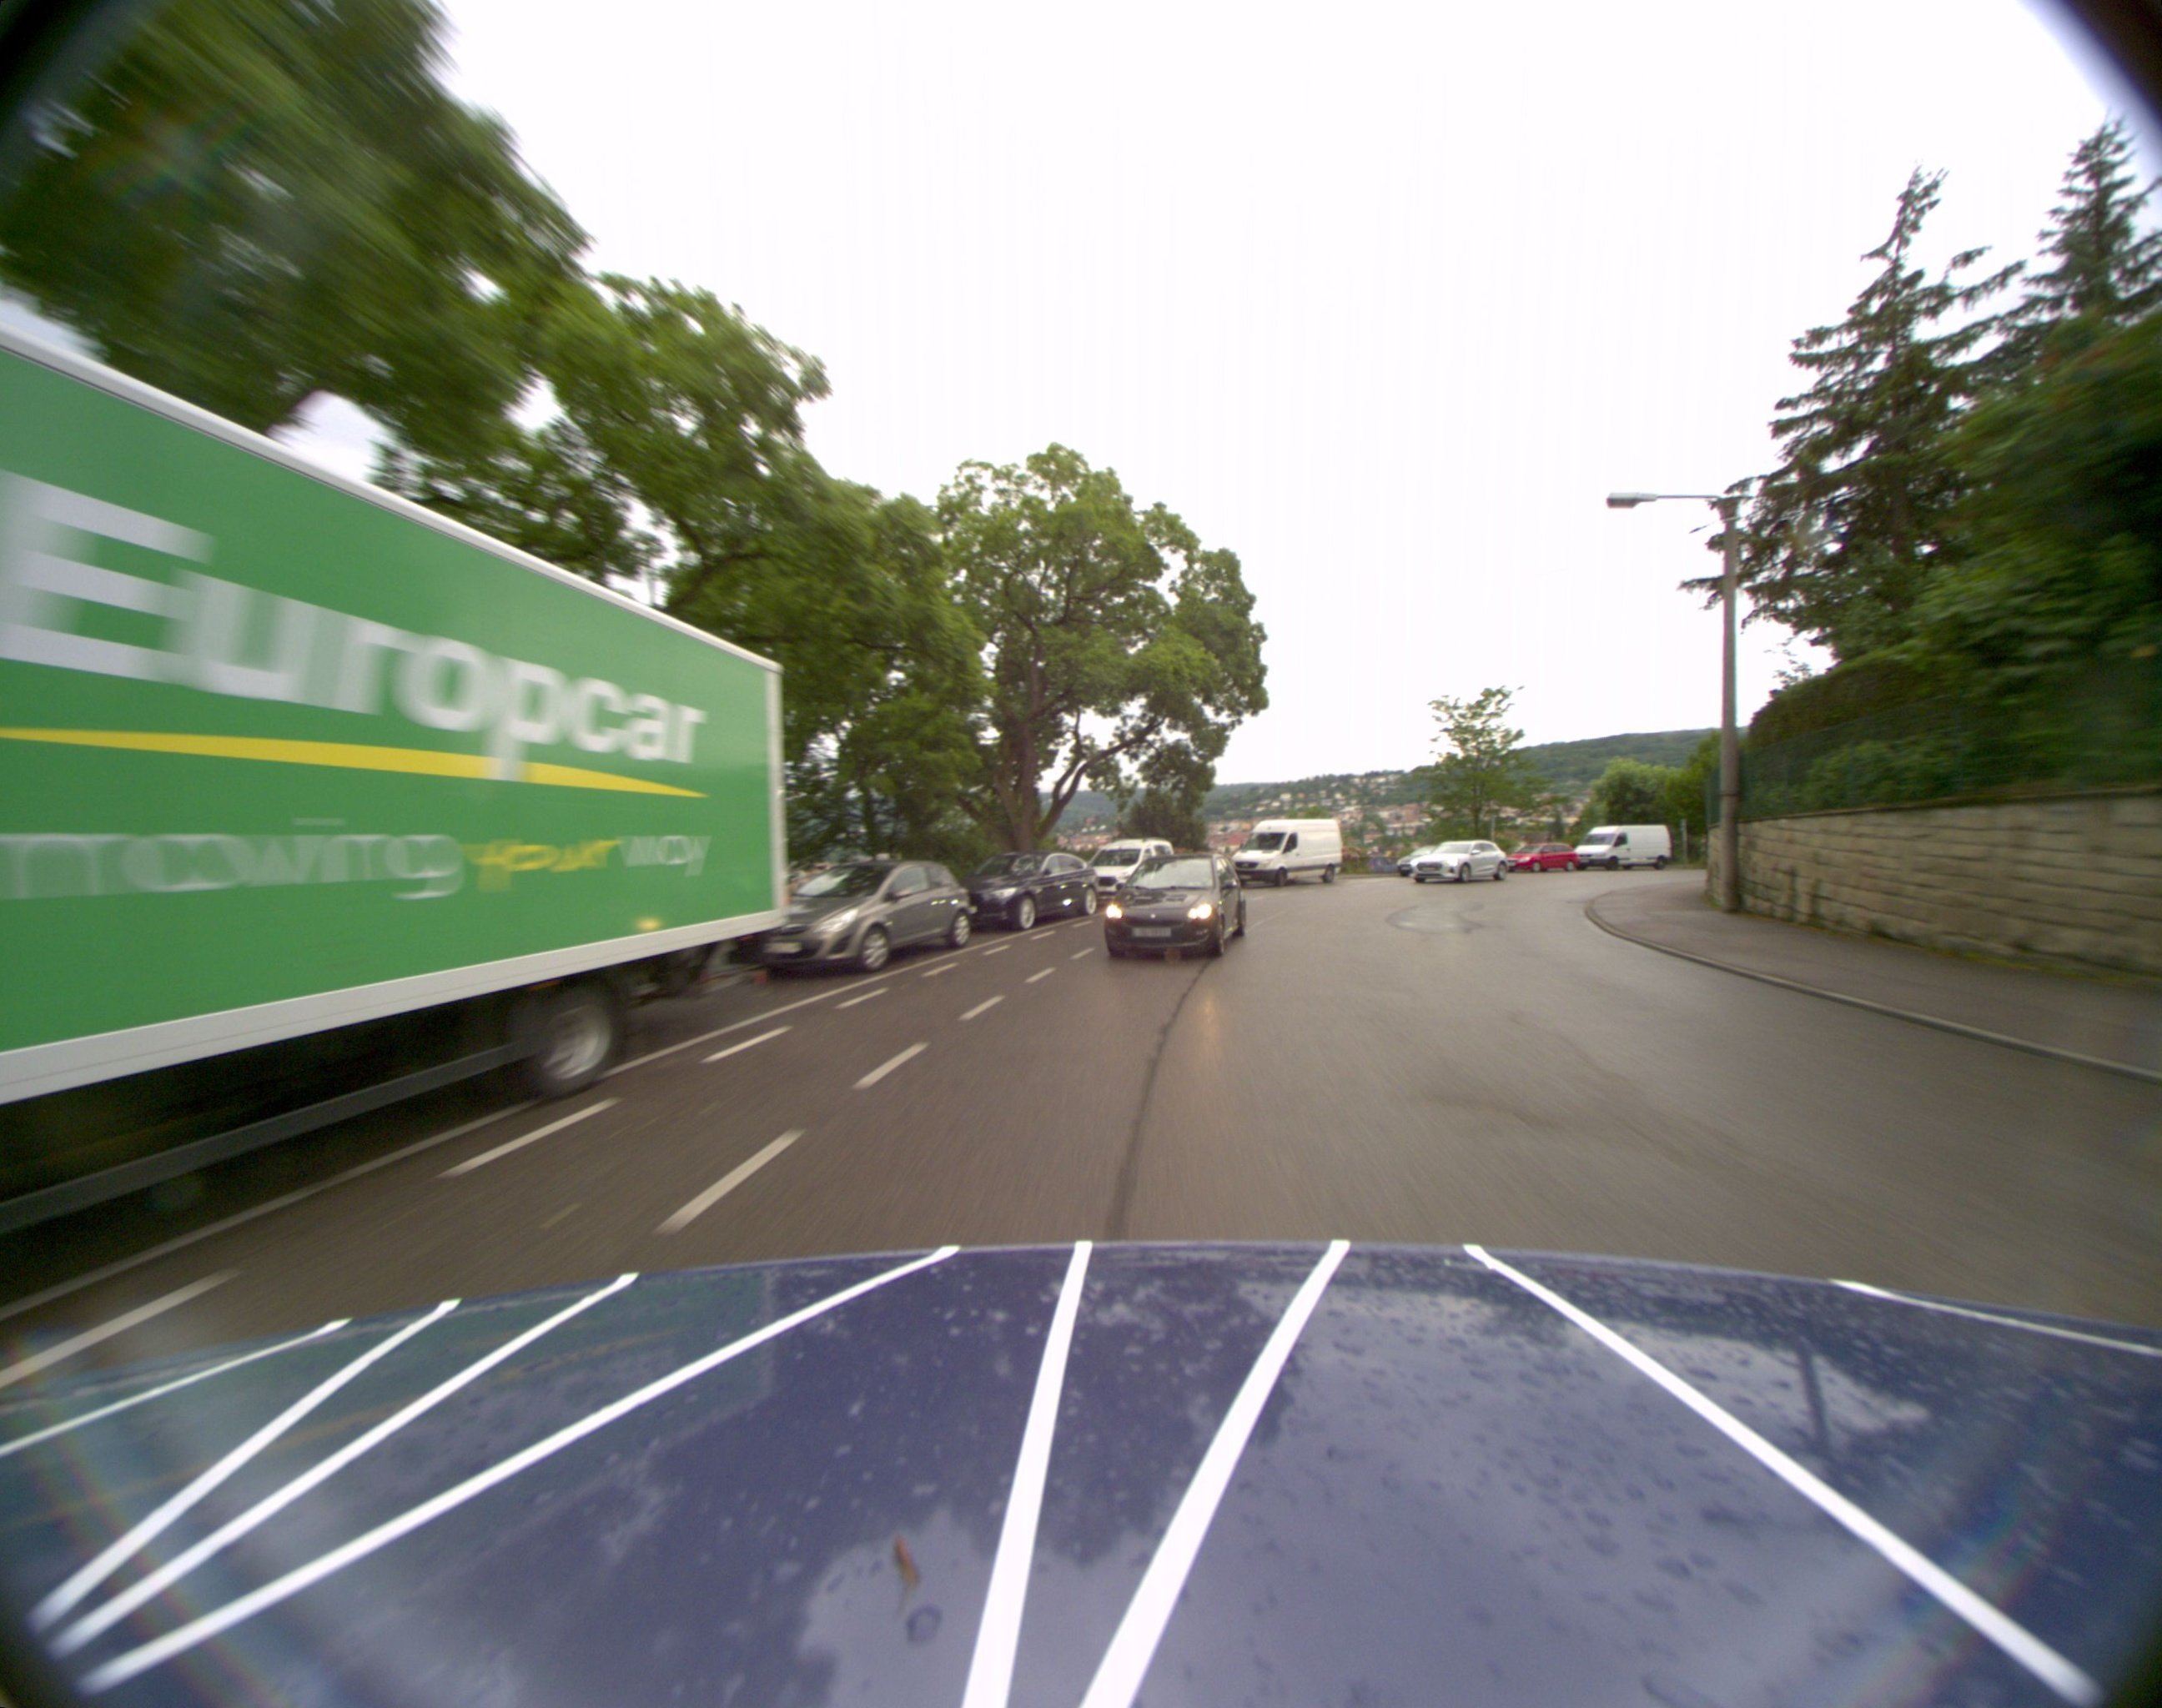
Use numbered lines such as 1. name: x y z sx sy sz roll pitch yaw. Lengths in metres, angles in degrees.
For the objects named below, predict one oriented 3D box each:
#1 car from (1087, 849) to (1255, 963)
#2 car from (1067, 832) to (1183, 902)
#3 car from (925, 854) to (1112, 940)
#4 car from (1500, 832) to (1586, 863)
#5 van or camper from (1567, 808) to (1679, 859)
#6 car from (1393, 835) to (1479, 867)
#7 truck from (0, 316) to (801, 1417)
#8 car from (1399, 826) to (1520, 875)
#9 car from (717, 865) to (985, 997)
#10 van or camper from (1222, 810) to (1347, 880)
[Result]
1. car: 1.652 0.683 12.281 1.781 1.477 4.411 -1 0 19
2. car: 1.391 0.314 21.885 1.748 1.810 4.431 0 1 26
3. car: -1.143 0.803 16.652 1.861 1.533 4.903 -1 0 25
4. car: 23.945 -0.314 39.383 4.220 1.531 1.622 0 0 -22
5. van or camper: 29.481 -1.047 41.306 5.601 2.645 2.077 0 0 -19
6. car: 17.030 -0.111 36.470 3.953 1.435 1.697 0 -1 -28
7. truck: -4.686 0.037 3.282 2.779 3.450 8.937 0 1 6
8. car: 15.043 -0.169 30.130 4.890 1.698 2.187 -3 1 -35
9. car: -3.128 0.958 11.337 1.736 1.494 4.141 0 1 18
10. van or camper: 8.271 -0.412 30.539 5.899 2.566 2.067 -3 2 -44
